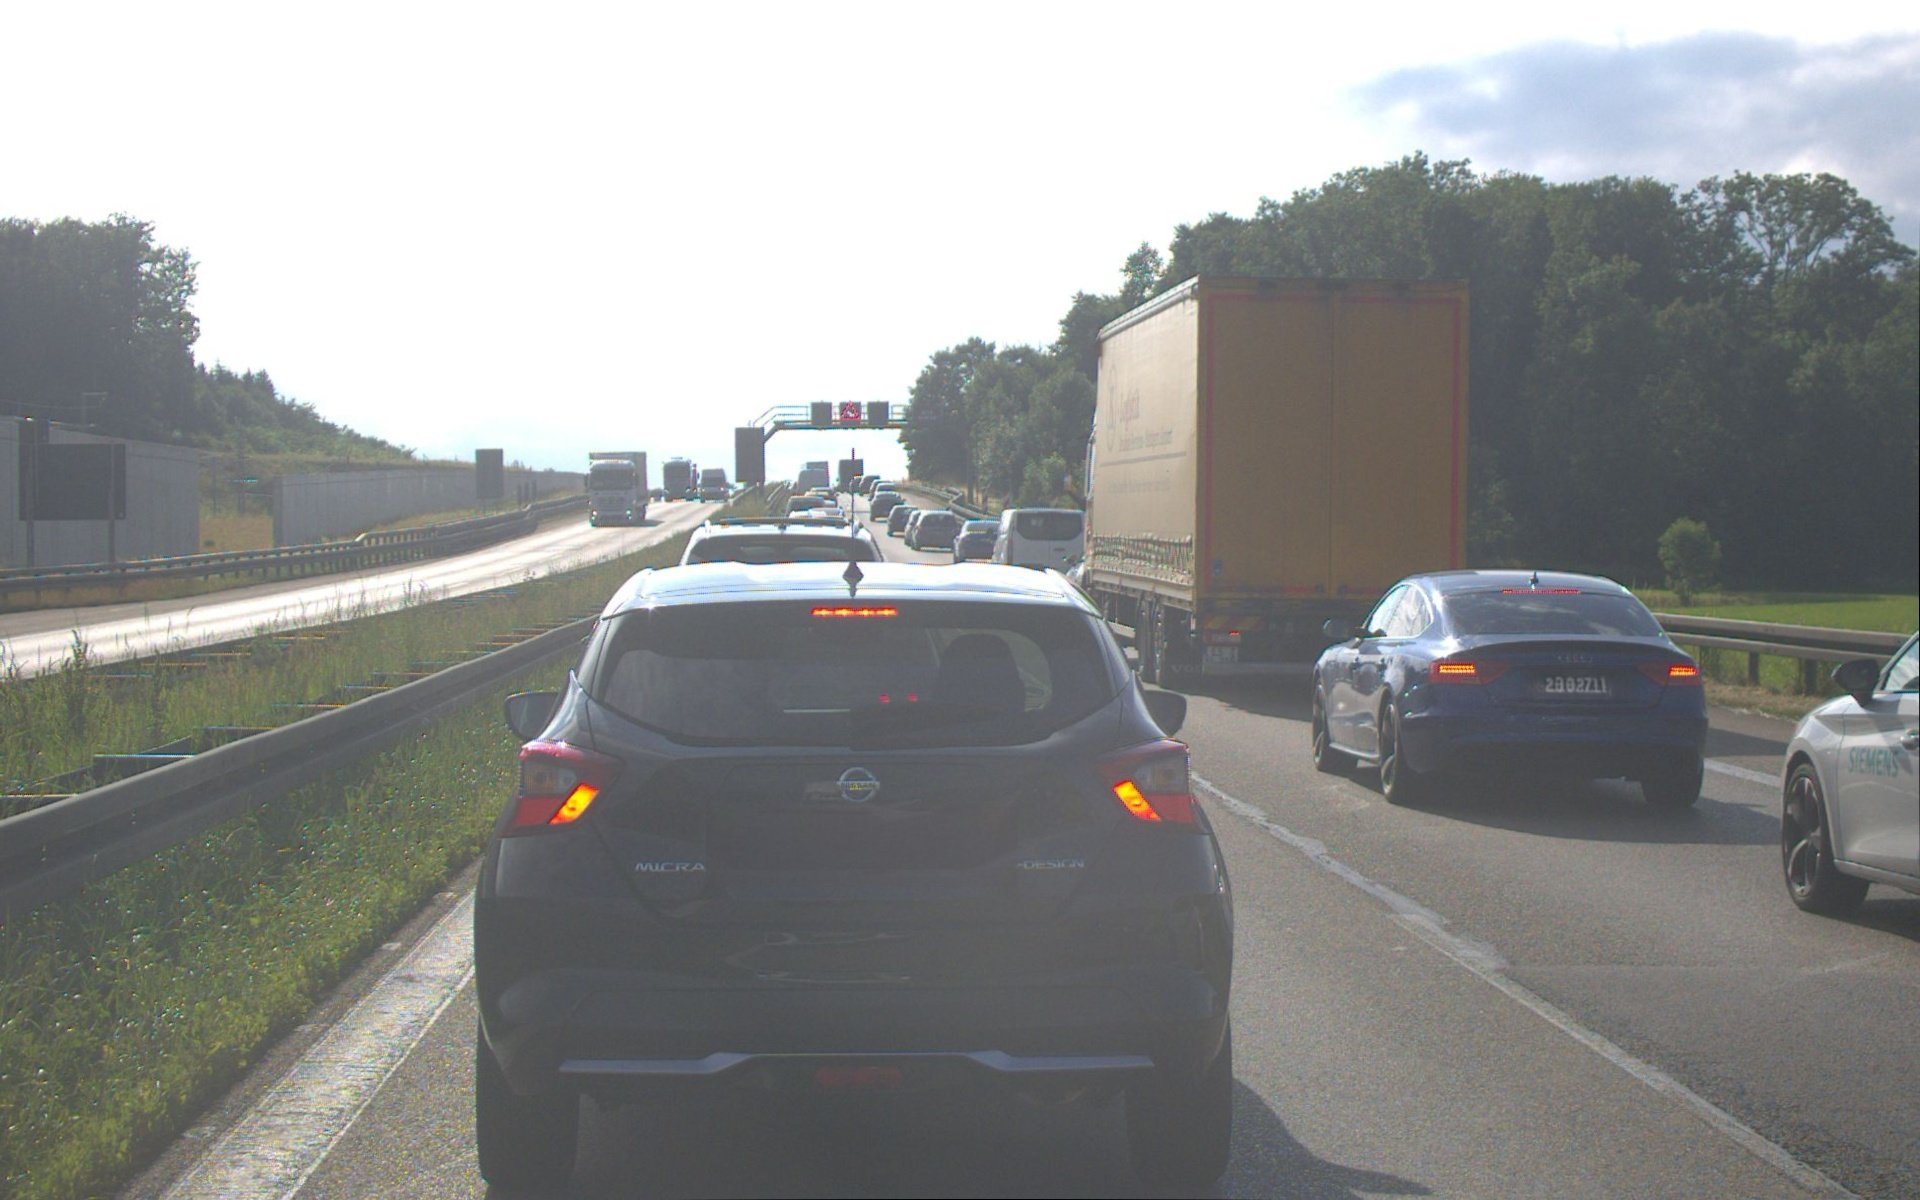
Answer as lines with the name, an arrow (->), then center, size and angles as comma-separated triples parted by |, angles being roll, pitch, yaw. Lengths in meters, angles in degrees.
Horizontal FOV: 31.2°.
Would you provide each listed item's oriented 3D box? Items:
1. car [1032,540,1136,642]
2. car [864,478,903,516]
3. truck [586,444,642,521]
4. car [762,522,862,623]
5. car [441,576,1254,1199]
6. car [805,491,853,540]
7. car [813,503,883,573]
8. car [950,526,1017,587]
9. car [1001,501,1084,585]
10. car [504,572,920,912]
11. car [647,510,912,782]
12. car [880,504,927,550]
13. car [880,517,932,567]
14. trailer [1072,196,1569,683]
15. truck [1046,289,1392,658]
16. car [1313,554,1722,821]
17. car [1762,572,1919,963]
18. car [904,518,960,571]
car -> 2.189, -0.175, 61.169 | 1.667, 1.748, 3.327 | 1, 1, -1
car -> -4.227, -5.637, 188.405 | 1.993, 2.007, 4.001 | 1, 1, -3
truck -> -19.110, -6.474, 190.320 | 2.637, 4.084, 7.003 | 1, 1, -3
car -> -3.077, -0.568, 71.197 | 1.993, 2.007, 4.001 | 1, 1, -3
car -> -0.258, 0.661, 8.993 | 1.710, 1.421, 3.378 | 1, 0, -1
car -> -5.620, -3.611, 147.022 | 1.993, 2.007, 4.001 | 1, 1, -3
car -> -3.399, -1.848, 103.344 | 1.993, 2.007, 4.001 | 1, 1, -3
car -> 0.758, -1.465, 115.710 | 1.993, 2.007, 4.001 | 1, 1, -3
car -> 1.767, -1.232, 74.877 | 1.667, 1.748, 3.327 | 1, 1, -1
car -> -1.046, 0.564, 15.783 | 1.674, 1.362, 3.596 | 1, 0, -1
car -> -1.192, 0.279, 23.761 | 1.674, 1.720, 3.596 | 1, 0, -1
car -> -2.606, -3.336, 157.937 | 1.993, 2.007, 4.001 | 1, 1, -3
car -> -2.269, -2.417, 143.544 | 1.993, 2.007, 4.001 | 1, 1, -3
trailer -> 3.542, -1.545, 38.121 | 3.548, 4.442, 12.723 | 1, 1, -3
truck -> 3.198, -1.549, 44.611 | 3.581, 4.364, 6.689 | 1, 1, -3
car -> 3.314, 0.470, 21.194 | 1.747, 1.470, 4.147 | 1, 0, -1
car -> 4.370, 0.630, 12.646 | 1.620, 1.440, 4.147 | 1, 0, -4
car -> -1.103, -2.154, 134.032 | 1.993, 2.007, 4.001 | 1, 1, -3
